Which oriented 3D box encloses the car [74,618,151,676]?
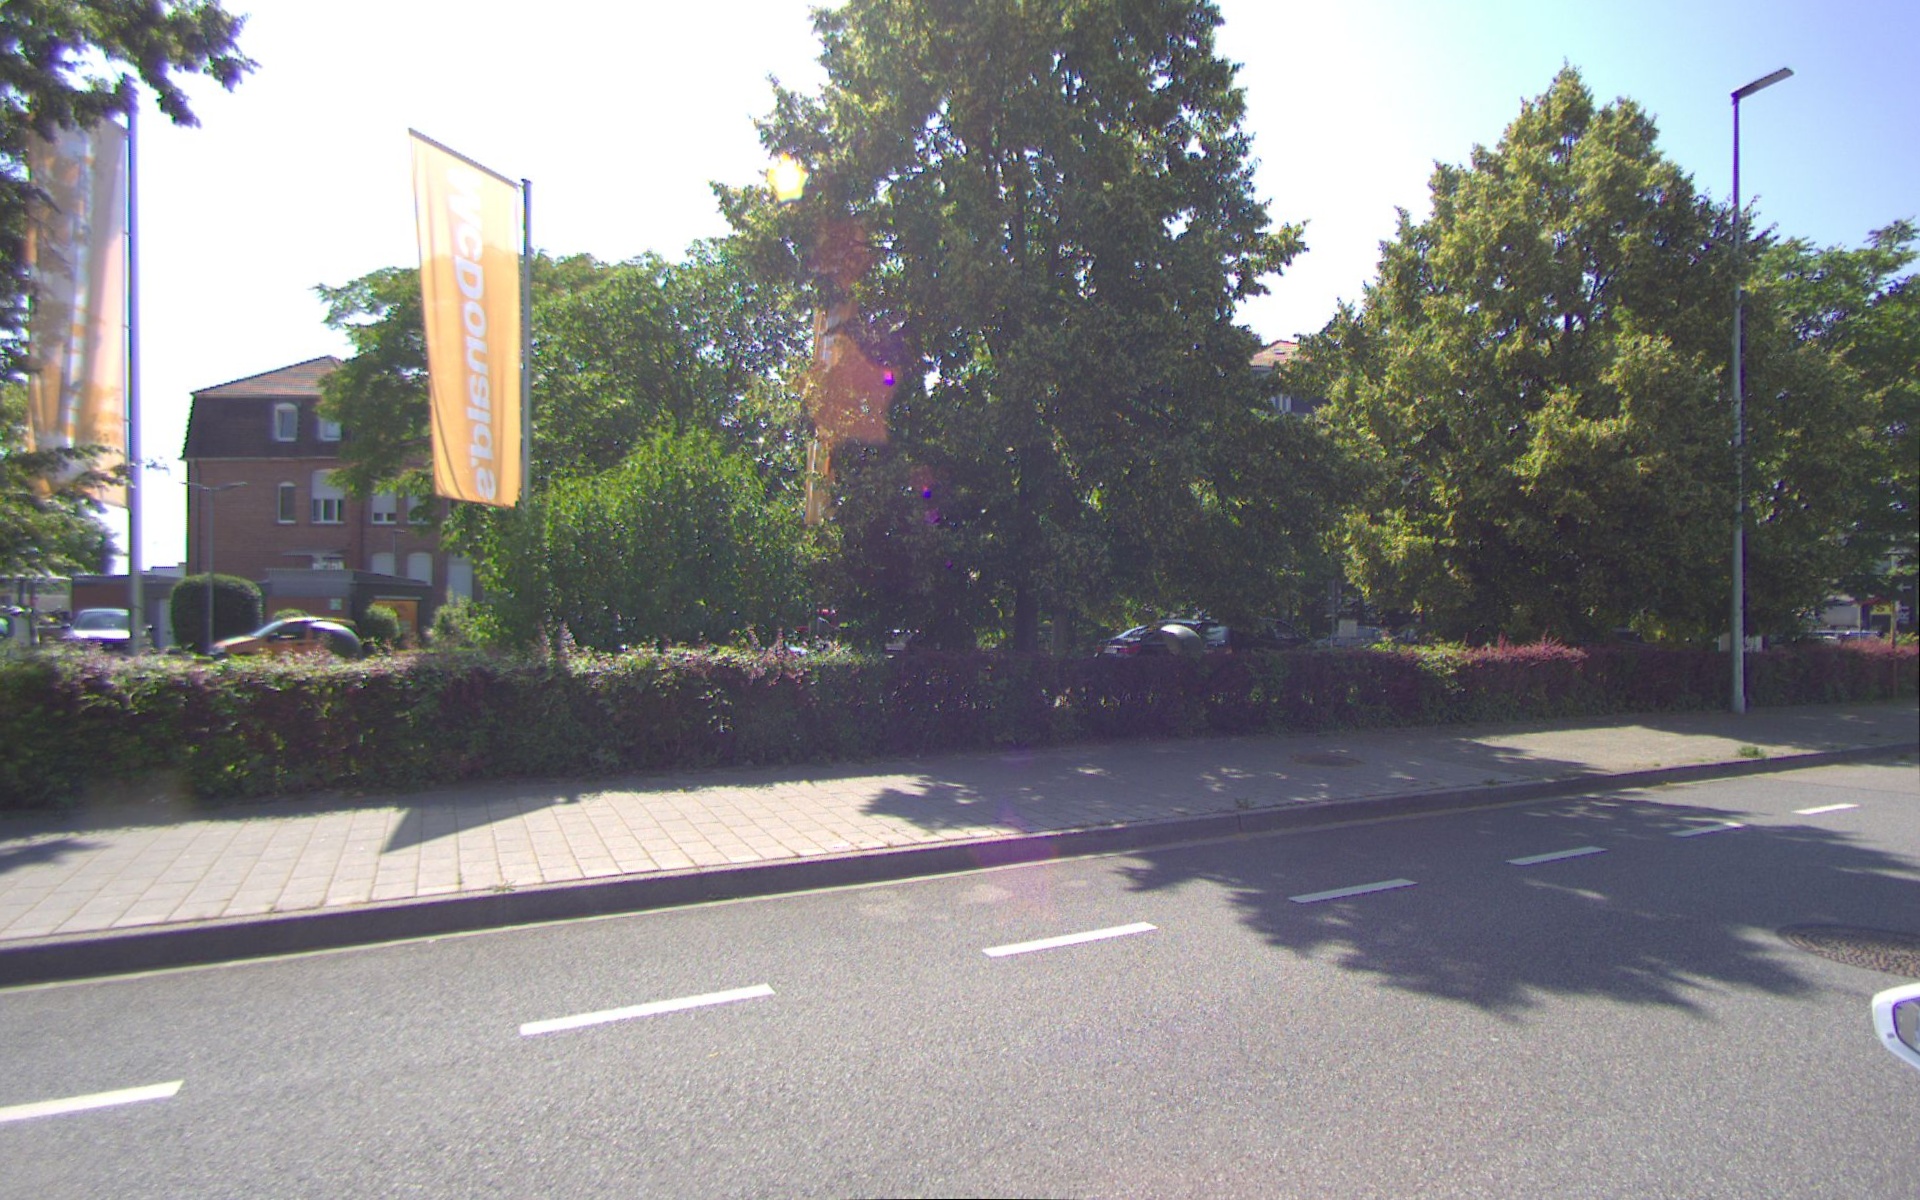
[{"bbox_3d":[-21.916,1.169,25.933,1.386,1.394,3.303,1,-2,-42],"label":"car"}]

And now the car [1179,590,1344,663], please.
[{"bbox_3d":[7.239,0.638,24.076,3.709,1.624,1.675,1,-1,-28],"label":"car"}]

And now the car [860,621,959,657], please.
[{"bbox_3d":[-2.055,1.541,40.218,3.941,1.356,1.578,-1,-2,41],"label":"car"}]

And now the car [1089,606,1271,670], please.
[{"bbox_3d":[5.730,0.960,26.078,4.598,1.530,1.776,1,-1,-28],"label":"car"}]

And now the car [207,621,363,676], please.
[{"bbox_3d":[-18.235,1.285,27.190,3.320,1.394,1.572,1,-2,-42],"label":"car"}]

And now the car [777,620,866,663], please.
[{"bbox_3d":[-5.527,1.602,39.798,1.783,1.619,3.957,1,-2,-38],"label":"car"}]

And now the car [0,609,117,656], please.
[{"bbox_3d":[-43.530,1.533,47.922,4.712,2.206,1.999,0,-1,-5],"label":"car"}]

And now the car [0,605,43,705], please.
[{"bbox_3d":[-18.515,0.943,17.020,1.693,1.758,4.227,-1,-2,41],"label":"car"}]

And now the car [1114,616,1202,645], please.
[{"bbox_3d":[7.834,1.206,39.937,1.394,1.104,3.356,1,-2,-37],"label":"car"}]
